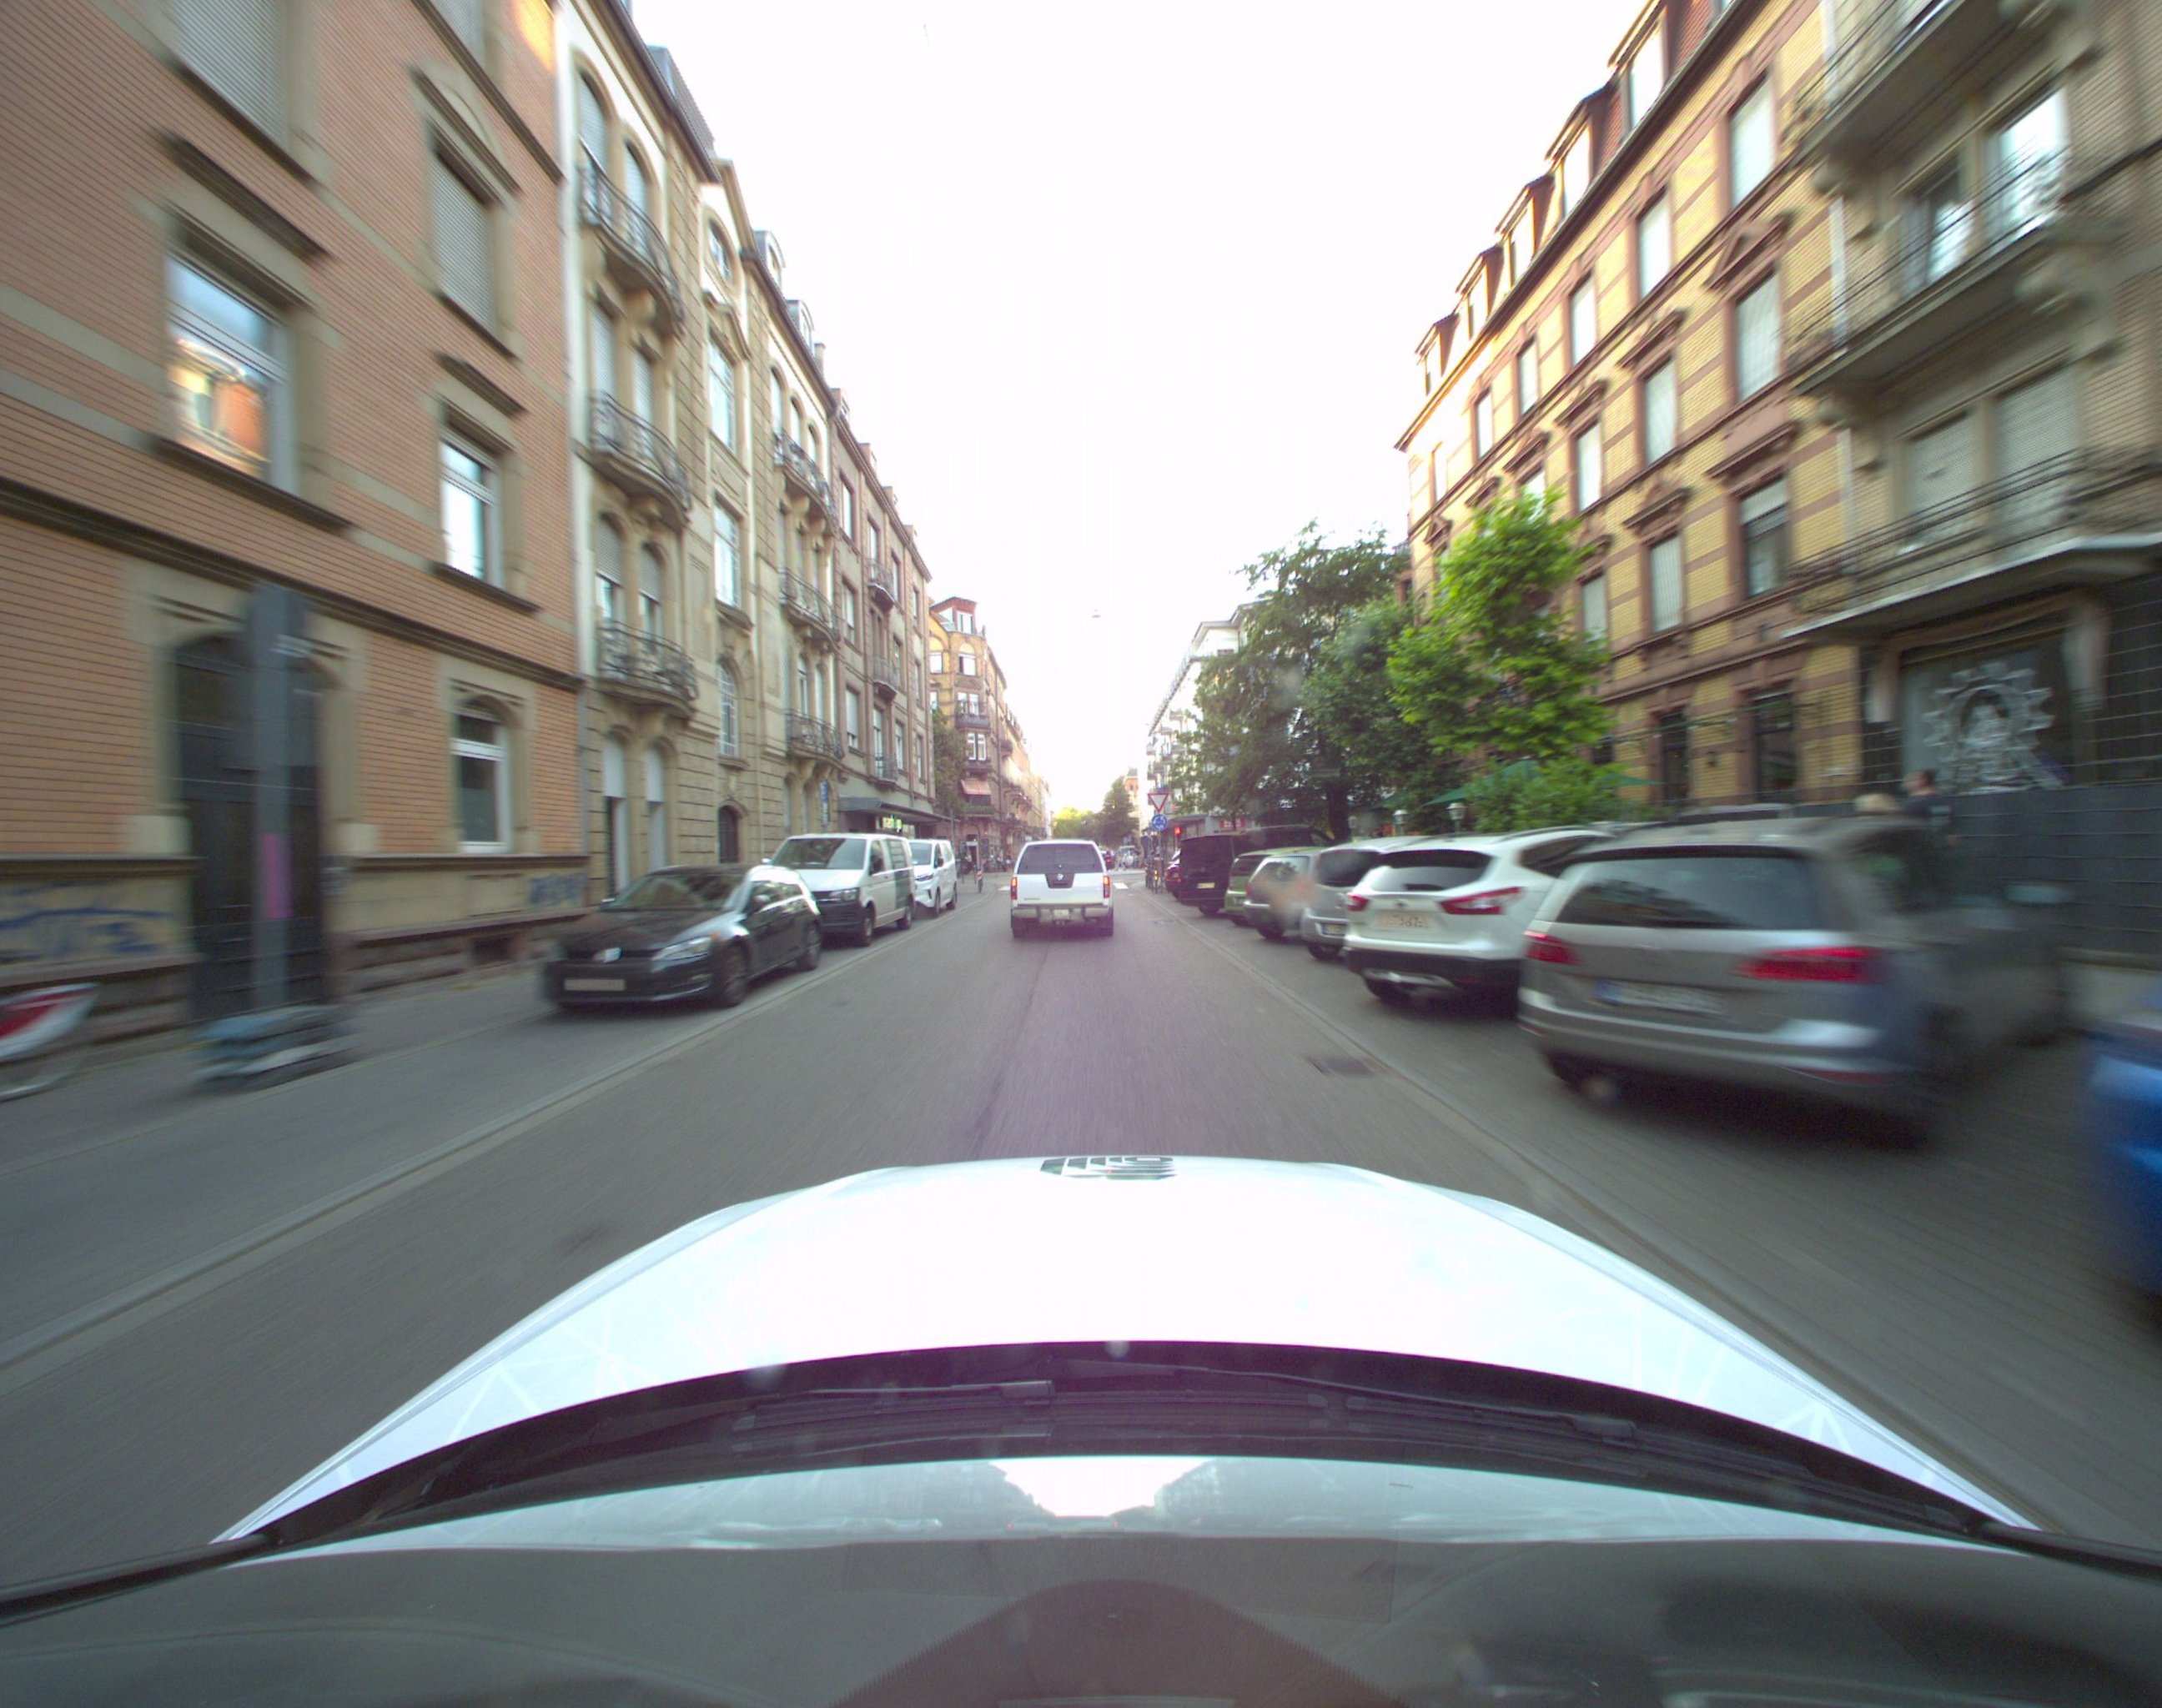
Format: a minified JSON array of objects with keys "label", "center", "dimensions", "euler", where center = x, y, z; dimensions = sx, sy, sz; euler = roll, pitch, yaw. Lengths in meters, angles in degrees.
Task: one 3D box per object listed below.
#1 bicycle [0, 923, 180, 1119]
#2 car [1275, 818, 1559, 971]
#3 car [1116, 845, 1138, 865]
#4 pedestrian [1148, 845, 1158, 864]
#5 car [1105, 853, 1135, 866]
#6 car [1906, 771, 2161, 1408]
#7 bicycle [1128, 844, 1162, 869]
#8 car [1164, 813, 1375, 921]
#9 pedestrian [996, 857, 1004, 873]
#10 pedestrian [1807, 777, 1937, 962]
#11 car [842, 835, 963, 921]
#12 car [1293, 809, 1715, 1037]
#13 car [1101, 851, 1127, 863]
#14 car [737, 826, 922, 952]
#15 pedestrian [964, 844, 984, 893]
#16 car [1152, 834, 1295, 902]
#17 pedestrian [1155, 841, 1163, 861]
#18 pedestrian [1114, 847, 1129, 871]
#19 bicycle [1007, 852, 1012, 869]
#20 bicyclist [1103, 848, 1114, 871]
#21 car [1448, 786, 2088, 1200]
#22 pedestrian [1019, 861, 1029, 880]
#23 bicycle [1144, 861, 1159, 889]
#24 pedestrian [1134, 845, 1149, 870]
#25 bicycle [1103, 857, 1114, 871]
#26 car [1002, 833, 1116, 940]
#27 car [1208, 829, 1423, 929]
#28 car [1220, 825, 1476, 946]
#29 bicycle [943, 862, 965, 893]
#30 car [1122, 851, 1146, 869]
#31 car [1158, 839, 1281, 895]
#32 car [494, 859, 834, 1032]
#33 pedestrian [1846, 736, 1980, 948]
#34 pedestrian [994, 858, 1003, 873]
[{"label":"bicycle","center":[-6.903,1.050,4.948],"dimensions":[0.749,1.101,2.021],"euler":[-1,-1,-6]},{"label":"car","center":[4.801,0.439,11.387],"dimensions":[4.130,1.590,1.798],"euler":[-5,1,-38]},{"label":"car","center":[4.609,0.142,81.530],"dimensions":[1.937,1.934,3.998],"euler":[-1,-1,-1]},{"label":"pedestrian","center":[6.182,0.060,69.934],"dimensions":[0.717,1.663,0.702],"euler":[-1,-1,0]},{"label":"car","center":[5.405,0.737,112.863],"dimensions":[3.975,1.750,1.840],"euler":[-1,-1,-1]},{"label":"car","center":[4.734,0.493,2.593],"dimensions":[4.178,1.590,1.868],"euler":[-3,0,-29]},{"label":"bicycle","center":[5.178,0.214,66.093],"dimensions":[2.638,2.014,0.638],"euler":[-1,-1,1]},{"label":"car","center":[4.705,0.227,19.788],"dimensions":[5.465,2.072,1.911],"euler":[-5,1,-38]},{"label":"pedestrian","center":[-6.731,0.900,67.995],"dimensions":[0.647,1.286,0.539],"euler":[-1,-1,-4]},{"label":"pedestrian","center":[7.539,0.142,7.794],"dimensions":[0.619,1.681,0.658],"euler":[-1,-1,15]},{"label":"car","center":[-4.480,0.562,21.323],"dimensions":[2.103,1.921,5.023],"euler":[-2,0,-1]},{"label":"car","center":[4.322,0.500,8.172],"dimensions":[4.123,1.590,1.800],"euler":[-5,1,-31]},{"label":"car","center":[5.039,0.481,124.804],"dimensions":[3.975,1.750,1.840],"euler":[-1,-1,-1]},{"label":"car","center":[-4.425,0.550,15.214],"dimensions":[1.830,1.921,4.846],"euler":[-2,0,1]},{"label":"pedestrian","center":[-4.110,0.548,31.290],"dimensions":[0.534,1.823,0.998],"euler":[-1,-1,3]},{"label":"car","center":[4.431,0.390,25.053],"dimensions":[4.246,1.688,1.911],"euler":[-5,1,-38]},{"label":"pedestrian","center":[7.630,-0.297,80.052],"dimensions":[0.717,1.906,0.702],"euler":[-1,-1,0]},{"label":"pedestrian","center":[2.970,0.360,59.801],"dimensions":[0.896,1.736,0.619],"euler":[-1,-1,18]},{"label":"bicycle","center":[-6.021,0.543,68.618],"dimensions":[0.423,1.442,1.901],"euler":[-1,-1,-4]},{"label":"bicyclist","center":[2.328,0.462,69.082],"dimensions":[0.834,1.944,0.785],"euler":[-1,-1,4]},{"label":"car","center":[4.546,0.504,5.255],"dimensions":[4.181,1.590,1.867],"euler":[-5,1,-31]},{"label":"pedestrian","center":[-4.920,1.458,70.458],"dimensions":[0.796,1.621,0.944],"euler":[-1,-1,-2]},{"label":"bicycle","center":[2.752,0.796,31.763],"dimensions":[0.363,1.063,1.550],"euler":[-1,-1,-3]},{"label":"pedestrian","center":[4.444,0.257,60.198],"dimensions":[0.909,1.885,0.610],"euler":[0,-1,-31]},{"label":"bicycle","center":[2.339,0.849,69.179],"dimensions":[0.834,1.171,1.938],"euler":[-1,-1,4]},{"label":"car","center":[-0.290,0.574,16.465],"dimensions":[1.930,1.810,5.003],"euler":[-1,-1,2]},{"label":"car","center":[4.785,0.444,16.451],"dimensions":[4.124,1.551,1.800],"euler":[-5,1,-32]},{"label":"car","center":[4.569,0.443,13.769],"dimensions":[4.124,1.551,1.800],"euler":[-5,1,-32]},{"label":"bicycle","center":[-4.816,0.891,30.961],"dimensions":[0.469,1.142,1.786],"euler":[-1,-1,4]},{"label":"car","center":[4.717,0.517,72.748],"dimensions":[1.829,1.542,3.998],"euler":[-1,-1,-1]},{"label":"car","center":[4.857,0.420,28.393],"dimensions":[4.064,1.627,1.676],"euler":[-4,1,-32]},{"label":"car","center":[-4.362,0.826,9.391],"dimensions":[1.832,1.471,4.169],"euler":[-2,0,-2]},{"label":"pedestrian","center":[8.246,-0.111,8.095],"dimensions":[0.621,2.014,0.655],"euler":[-1,-1,0]},{"label":"pedestrian","center":[-6.764,0.937,66.808],"dimensions":[0.647,1.191,0.539],"euler":[-1,-1,-4]}]
